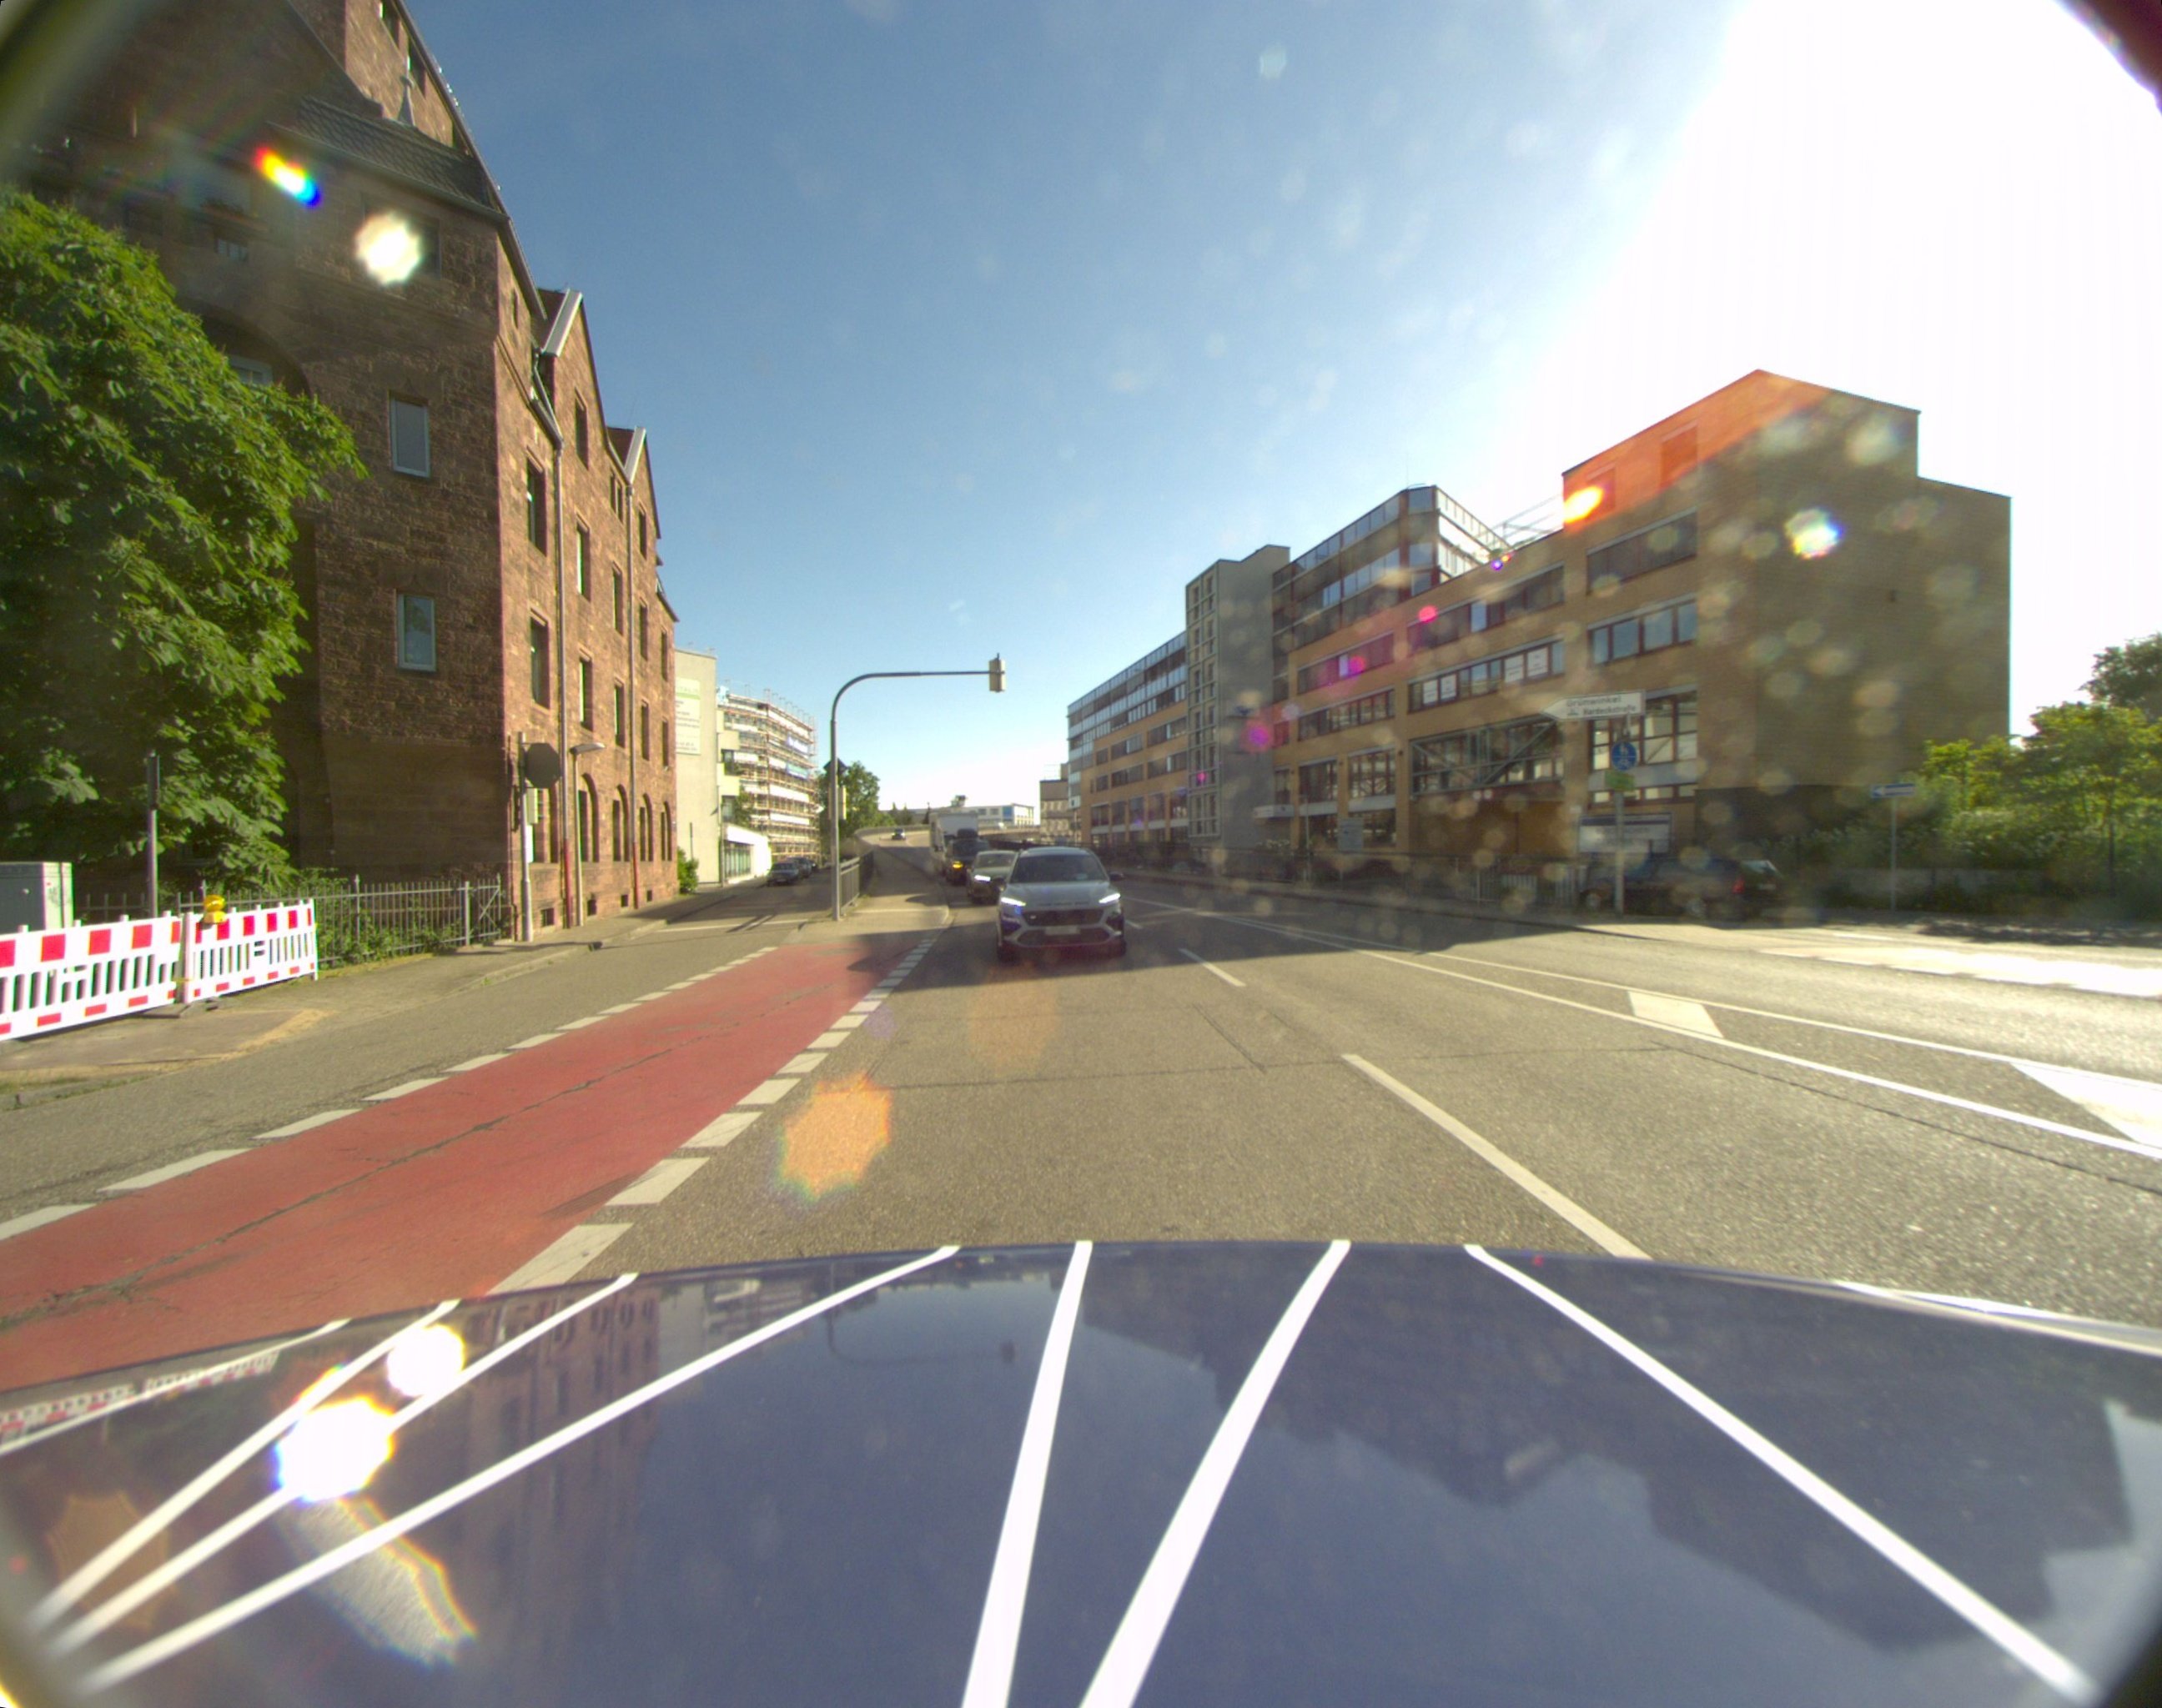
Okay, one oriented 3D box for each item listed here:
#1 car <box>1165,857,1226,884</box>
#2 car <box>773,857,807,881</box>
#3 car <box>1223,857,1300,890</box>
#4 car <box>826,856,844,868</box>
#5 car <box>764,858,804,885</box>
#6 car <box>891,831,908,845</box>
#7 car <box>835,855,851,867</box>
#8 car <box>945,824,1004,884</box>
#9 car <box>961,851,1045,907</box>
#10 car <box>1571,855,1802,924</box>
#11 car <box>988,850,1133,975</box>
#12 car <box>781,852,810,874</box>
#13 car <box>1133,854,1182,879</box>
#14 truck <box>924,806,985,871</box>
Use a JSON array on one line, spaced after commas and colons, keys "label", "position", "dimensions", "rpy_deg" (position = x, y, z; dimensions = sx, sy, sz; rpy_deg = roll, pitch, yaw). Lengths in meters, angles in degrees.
[{"label": "car", "position": [6.763, 0.933, 45.291], "dimensions": [1.882, 1.514, 4.154], "rpy_deg": [-1, 0, -19]}, {"label": "car", "position": [-20.435, 1.018, 53.443], "dimensions": [2.056, 1.522, 4.086], "rpy_deg": [-2, 0, -19]}, {"label": "car", "position": [8.859, 0.933, 37.704], "dimensions": [1.640, 1.514, 4.153], "rpy_deg": [-1, 0, -21]}, {"label": "car", "position": [-36.068, 1.198, 111.371], "dimensions": [1.757, 1.749, 4.200], "rpy_deg": [-1, 0, -8]}, {"label": "car", "position": [-18.274, 1.066, 46.938], "dimensions": [2.056, 1.522, 4.086], "rpy_deg": [-2, 0, -18]}, {"label": "car", "position": [-25.237, -2.223, 105.935], "dimensions": [1.757, 1.749, 4.782], "rpy_deg": [-1, 0, -8]}, {"label": "car", "position": [-36.682, 1.068, 117.157], "dimensions": [1.757, 1.749, 4.175], "rpy_deg": [-1, 0, -8]}, {"label": "car", "position": [-4.424, 0.001, 31.096], "dimensions": [1.952, 2.248, 4.780], "rpy_deg": [-1, 0, -13]}, {"label": "car", "position": [-2.453, 0.665, 22.688], "dimensions": [1.881, 1.462, 4.630], "rpy_deg": [-1, 0, -13]}, {"label": "car", "position": [14.672, 0.827, 18.781], "dimensions": [1.660, 1.500, 4.374], "rpy_deg": [1, -1, -14]}, {"label": "car", "position": [-0.369, 0.755, 12.062], "dimensions": [1.879, 1.612, 4.195], "rpy_deg": [-1, 0, -3]}, {"label": "car", "position": [-22.807, 0.727, 60.812], "dimensions": [2.056, 1.676, 4.086], "rpy_deg": [-2, 0, -19]}, {"label": "car", "position": [5.050, 0.828, 50.624], "dimensions": [1.887, 1.554, 3.994], "rpy_deg": [-1, 0, -16]}, {"label": "truck", "position": [-6.768, -0.735, 39.978], "dimensions": [2.505, 3.110, 6.951], "rpy_deg": [-1, 0, -14]}]
